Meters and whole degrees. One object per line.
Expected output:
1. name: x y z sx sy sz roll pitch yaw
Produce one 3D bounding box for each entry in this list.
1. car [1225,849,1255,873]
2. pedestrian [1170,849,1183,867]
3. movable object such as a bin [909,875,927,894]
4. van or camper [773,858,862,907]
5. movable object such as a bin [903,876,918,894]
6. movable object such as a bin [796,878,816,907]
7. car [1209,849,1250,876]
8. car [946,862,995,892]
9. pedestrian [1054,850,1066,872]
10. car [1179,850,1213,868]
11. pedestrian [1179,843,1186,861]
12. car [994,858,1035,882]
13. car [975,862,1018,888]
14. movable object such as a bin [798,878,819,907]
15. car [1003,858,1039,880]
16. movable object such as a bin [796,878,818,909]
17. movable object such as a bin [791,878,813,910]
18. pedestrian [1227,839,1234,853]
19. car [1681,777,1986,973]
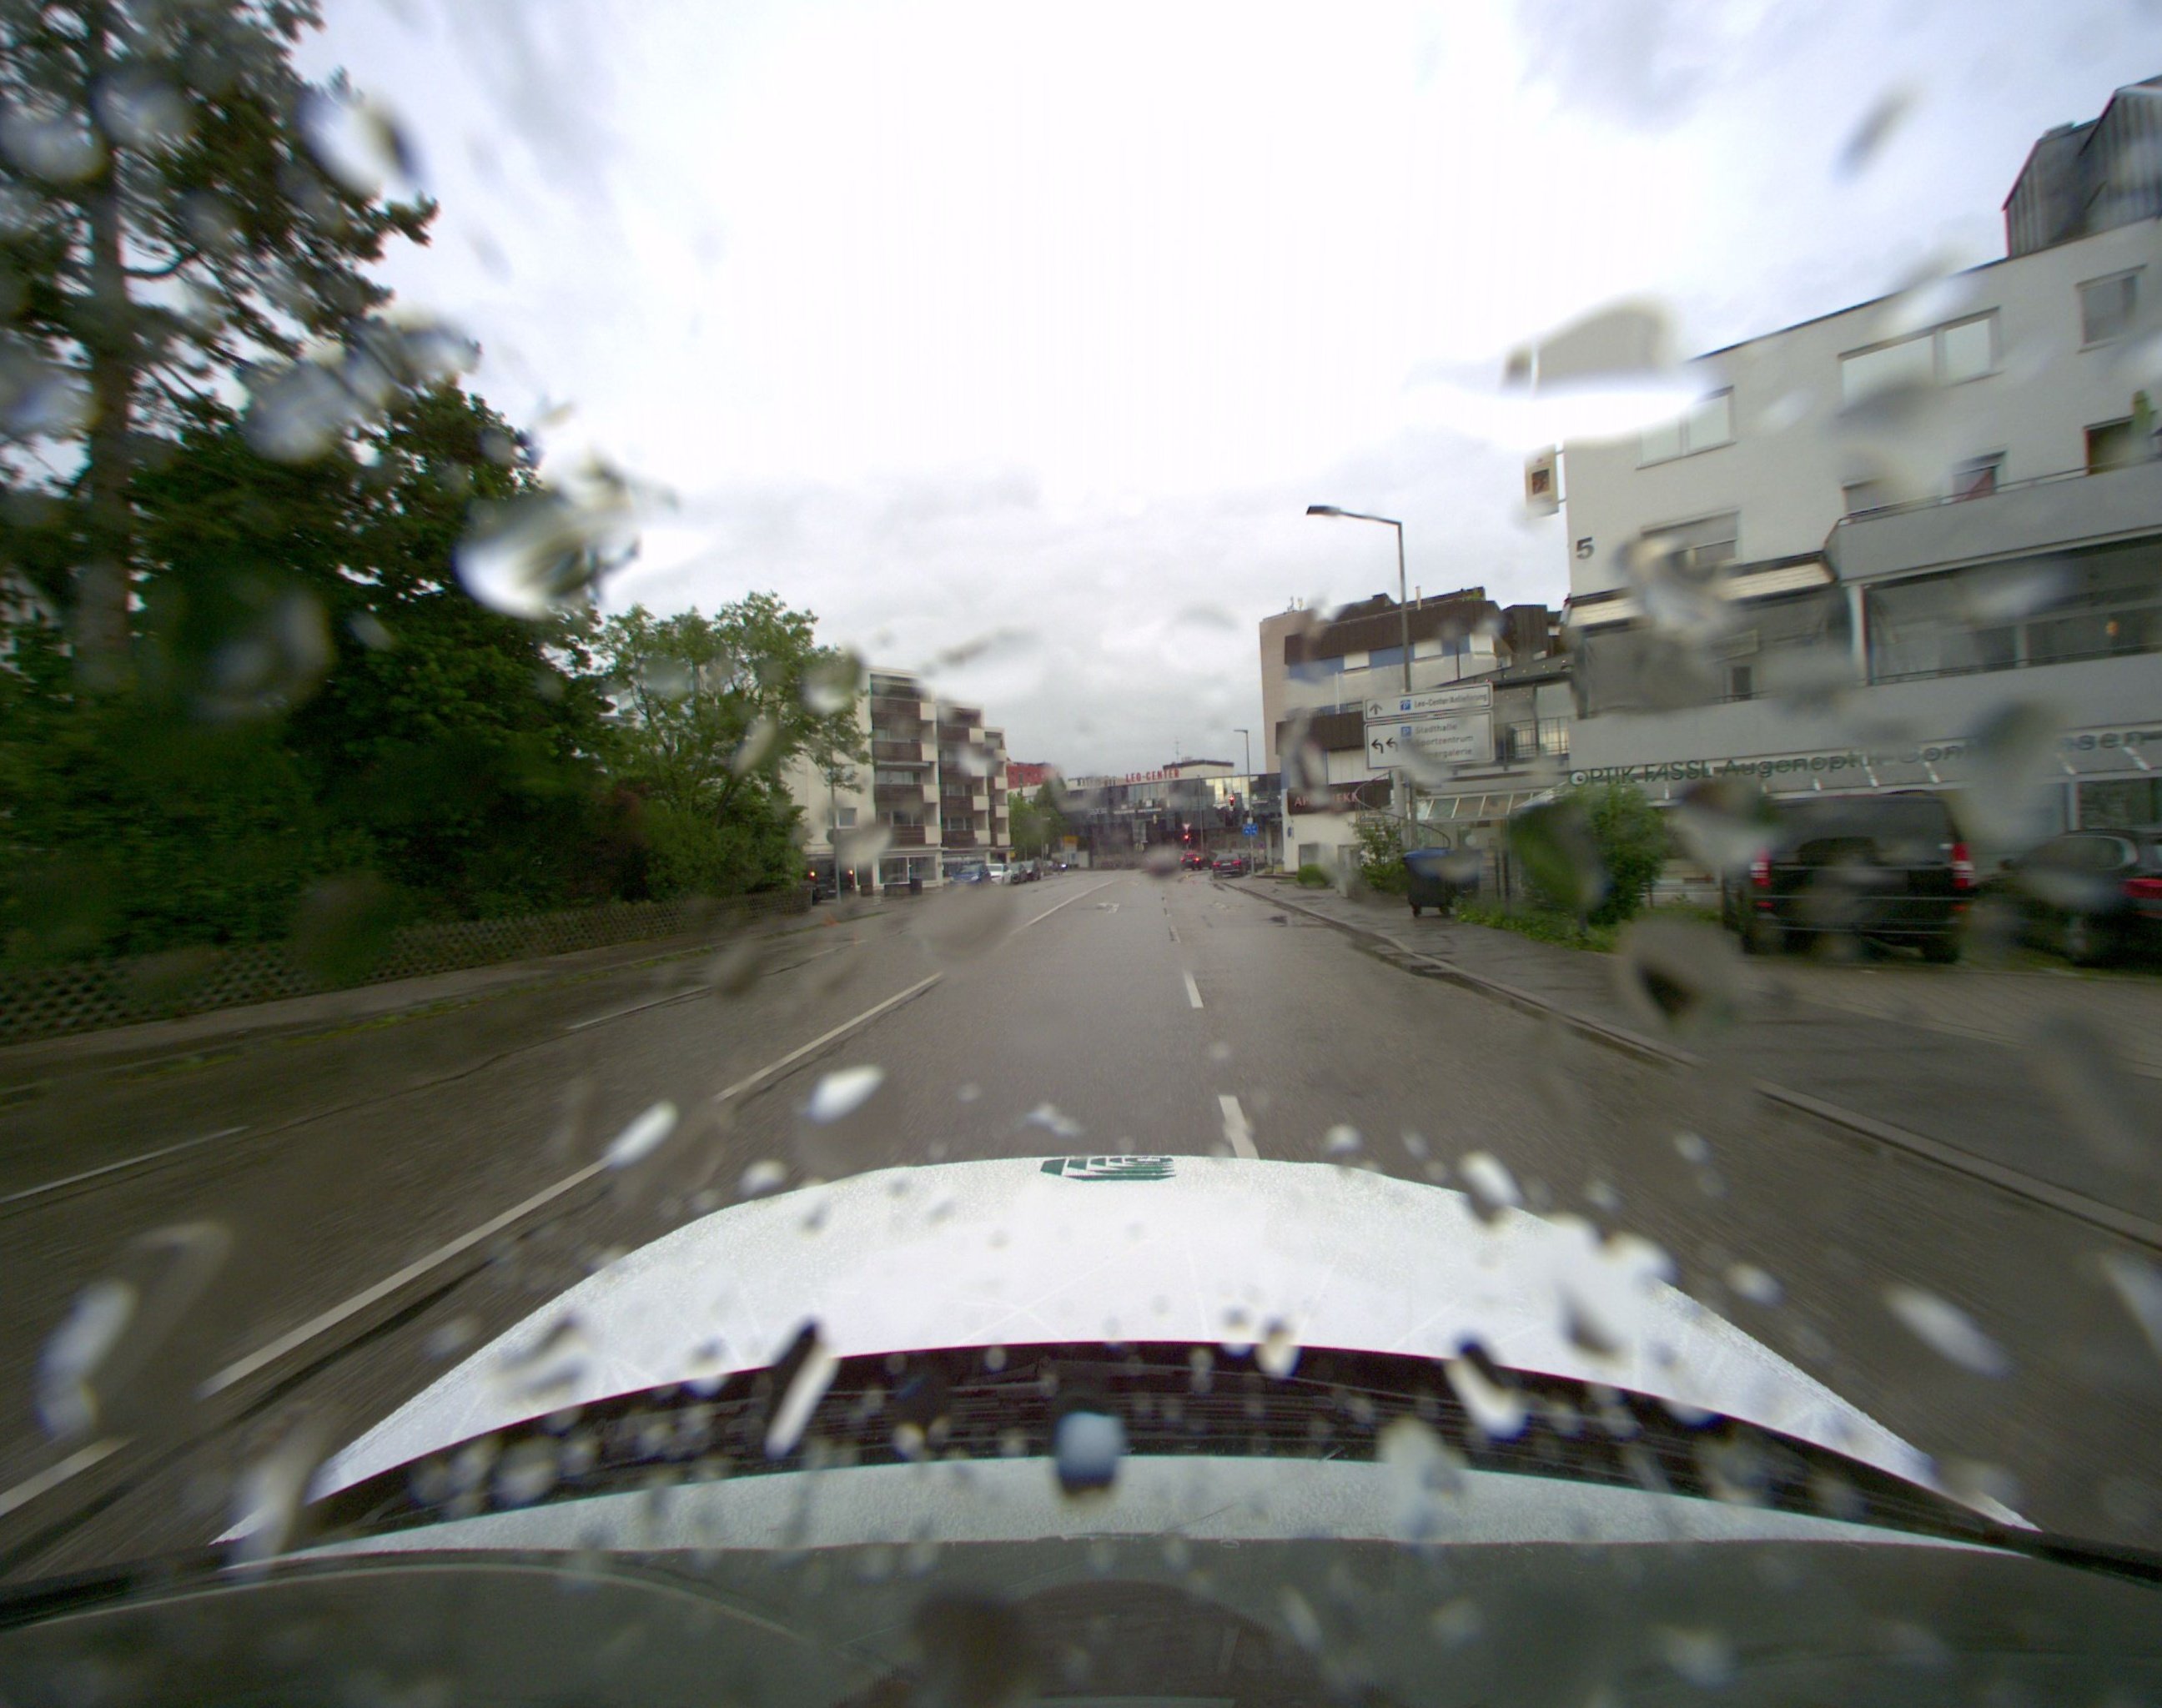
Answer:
1. car: 11.510 0.466 58.827 1.685 1.486 4.016 -6 -1 15
2. pedestrian: 8.899 0.377 75.943 0.912 1.659 0.750 1 1 -21
3. movable object such as a bin: -8.417 1.574 42.081 0.644 0.966 0.684 -3 0 6
4. van or camper: -11.786 1.195 36.210 2.010 1.924 5.158 -4 2 -38
5. movable object such as a bin: -8.956 1.641 42.857 0.571 0.903 0.599 -3 0 6
6. movable object such as a bin: -11.123 1.567 32.900 0.603 1.118 0.595 -3 0 -30
7. car: 9.046 0.542 49.362 1.978 1.534 4.666 -2 -1 16
8. car: -6.220 1.282 46.284 1.643 1.521 4.332 -2 0 6
9. pedestrian: -1.965 0.669 77.833 0.741 2.013 0.927 1 0 27
10. car: 9.727 0.397 68.927 1.788 1.419 4.022 -3 0 23
11. pedestrian: 9.569 -0.211 76.936 0.607 1.659 0.672 1 1 1
12. car: -4.632 1.098 57.495 1.924 1.541 4.529 -2 0 7
13. car: -5.347 1.286 52.140 1.684 1.464 4.693 -2 0 7
14. movable object such as a bin: -10.792 1.519 32.242 0.603 1.118 0.595 -3 0 -30
15. car: -4.584 1.148 62.500 1.924 1.541 4.281 -2 0 7
16. movable object such as a bin: -10.343 1.469 30.741 0.598 1.118 0.600 -3 0 -7
17. movable object such as a bin: -10.305 1.485 30.096 0.598 1.118 0.600 -3 0 -7
18. pedestrian: 21.378 -1.112 116.532 0.781 2.013 0.673 -3 -1 16
19. car: 9.643 0.189 10.958 1.974 2.013 4.810 -3 0 31
